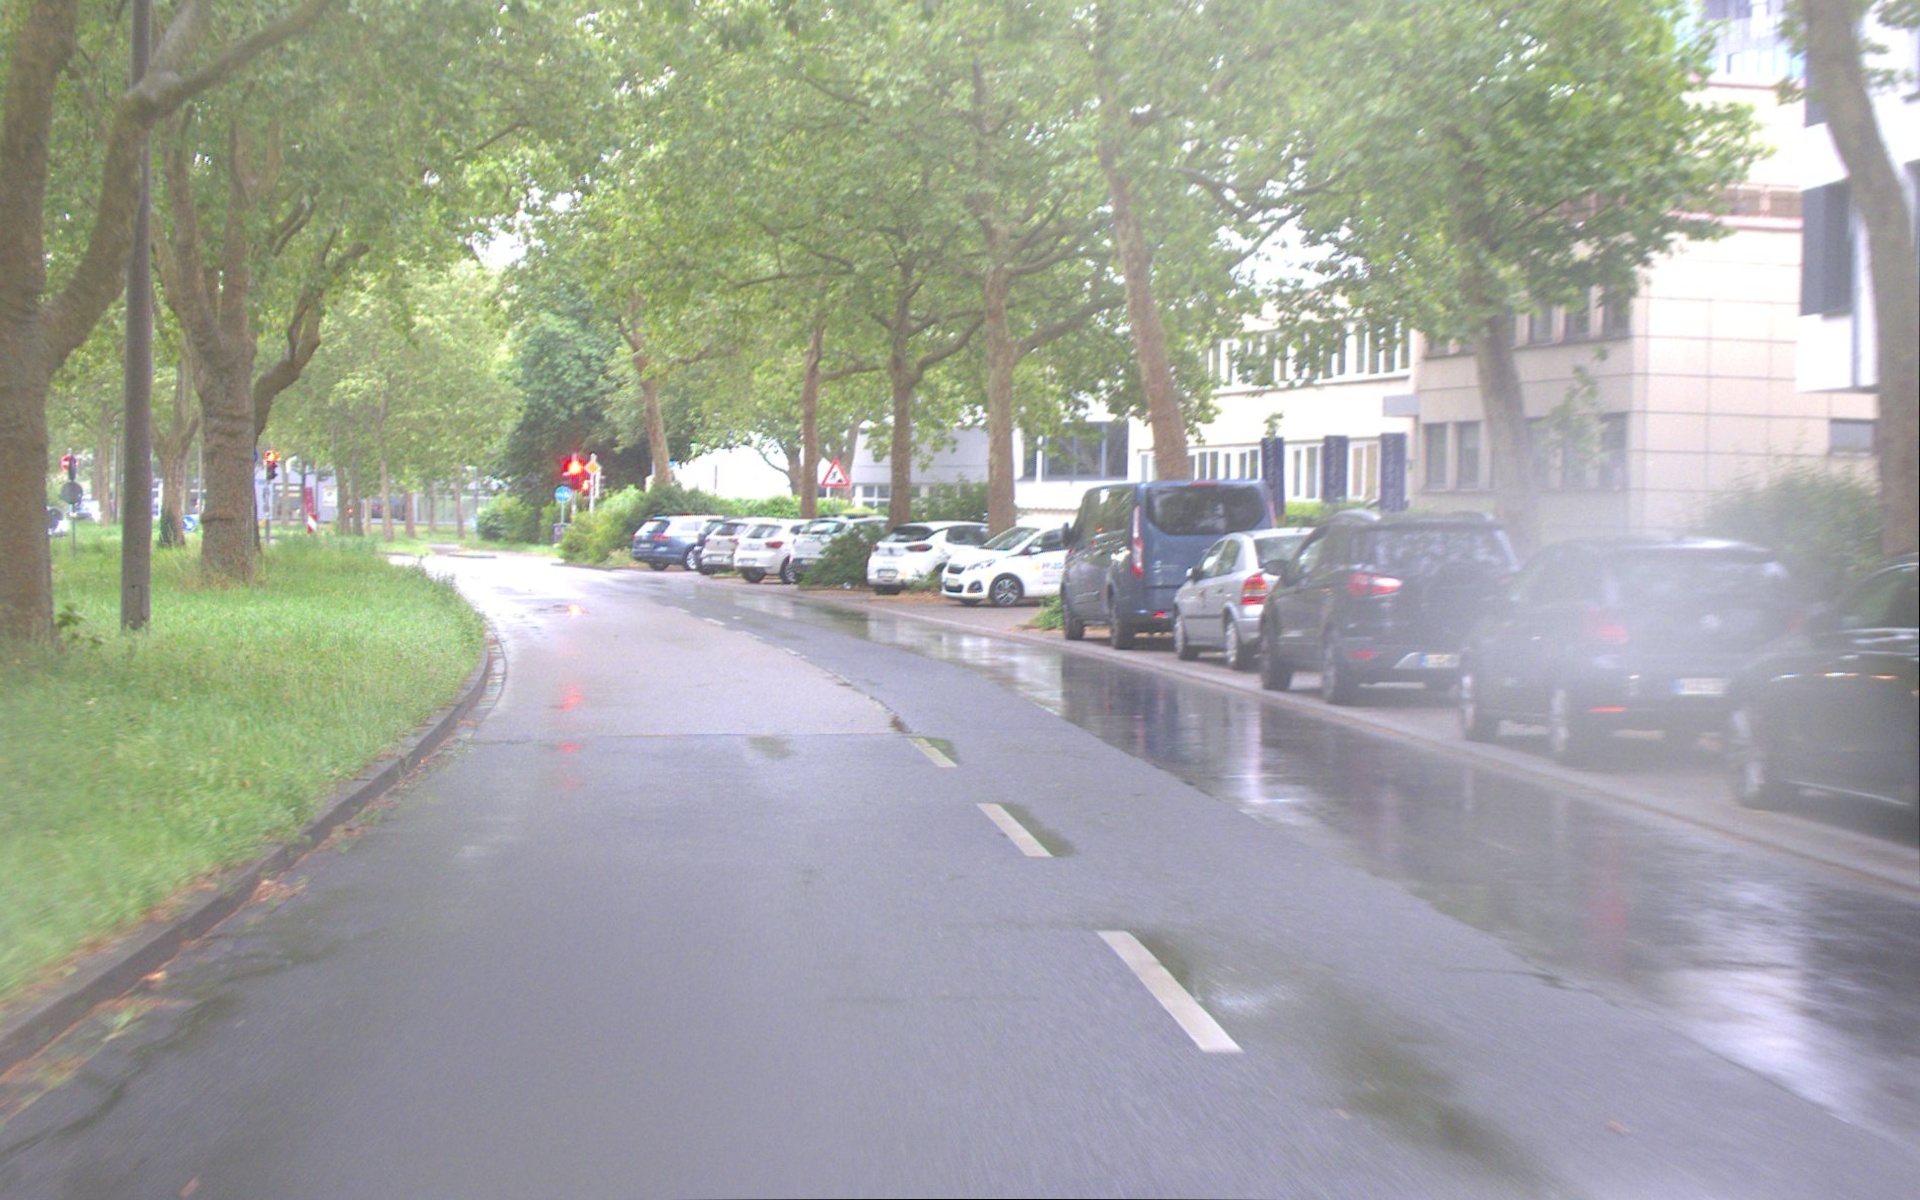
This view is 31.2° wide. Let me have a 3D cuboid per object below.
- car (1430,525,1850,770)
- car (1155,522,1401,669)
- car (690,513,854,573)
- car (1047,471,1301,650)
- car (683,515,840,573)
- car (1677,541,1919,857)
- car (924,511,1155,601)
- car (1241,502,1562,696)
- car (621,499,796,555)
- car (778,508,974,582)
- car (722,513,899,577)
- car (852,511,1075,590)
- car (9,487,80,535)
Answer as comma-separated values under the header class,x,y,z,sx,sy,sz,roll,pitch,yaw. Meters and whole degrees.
class,x,y,z,sx,sy,sz,roll,pitch,yaw
car,4.432,0.250,23.012,1.743,1.471,4.083,1,1,-4
car,3.338,-0.094,36.897,1.743,1.464,4.307,1,1,-7
car,-4.575,-1.386,83.937,3.682,1.411,1.775,0,2,-42
car,2.532,-0.516,42.177,2.121,2.021,5.529,1,1,-7
car,-5.028,-1.421,87.192,3.682,1.411,1.748,0,2,-42
car,5.173,0.447,17.025,1.743,1.423,5.105,1,1,-5
car,1.395,-0.784,60.154,3.634,1.499,1.749,-1,3,-26
car,3.765,-0.056,30.082,1.743,1.561,4.373,1,1,-7
car,-6.765,-1.968,92.700,4.483,1.454,1.749,0,2,-38
car,-1.779,-1.179,73.534,4.027,1.534,1.748,0,2,-43
car,-3.403,-1.263,78.511,3.681,1.411,1.749,0,2,-38
car,0.085,-0.927,64.318,4.027,1.423,1.748,0,2,-42
car,-32.239,-3.130,121.052,1.743,1.644,4.307,0,1,-24
